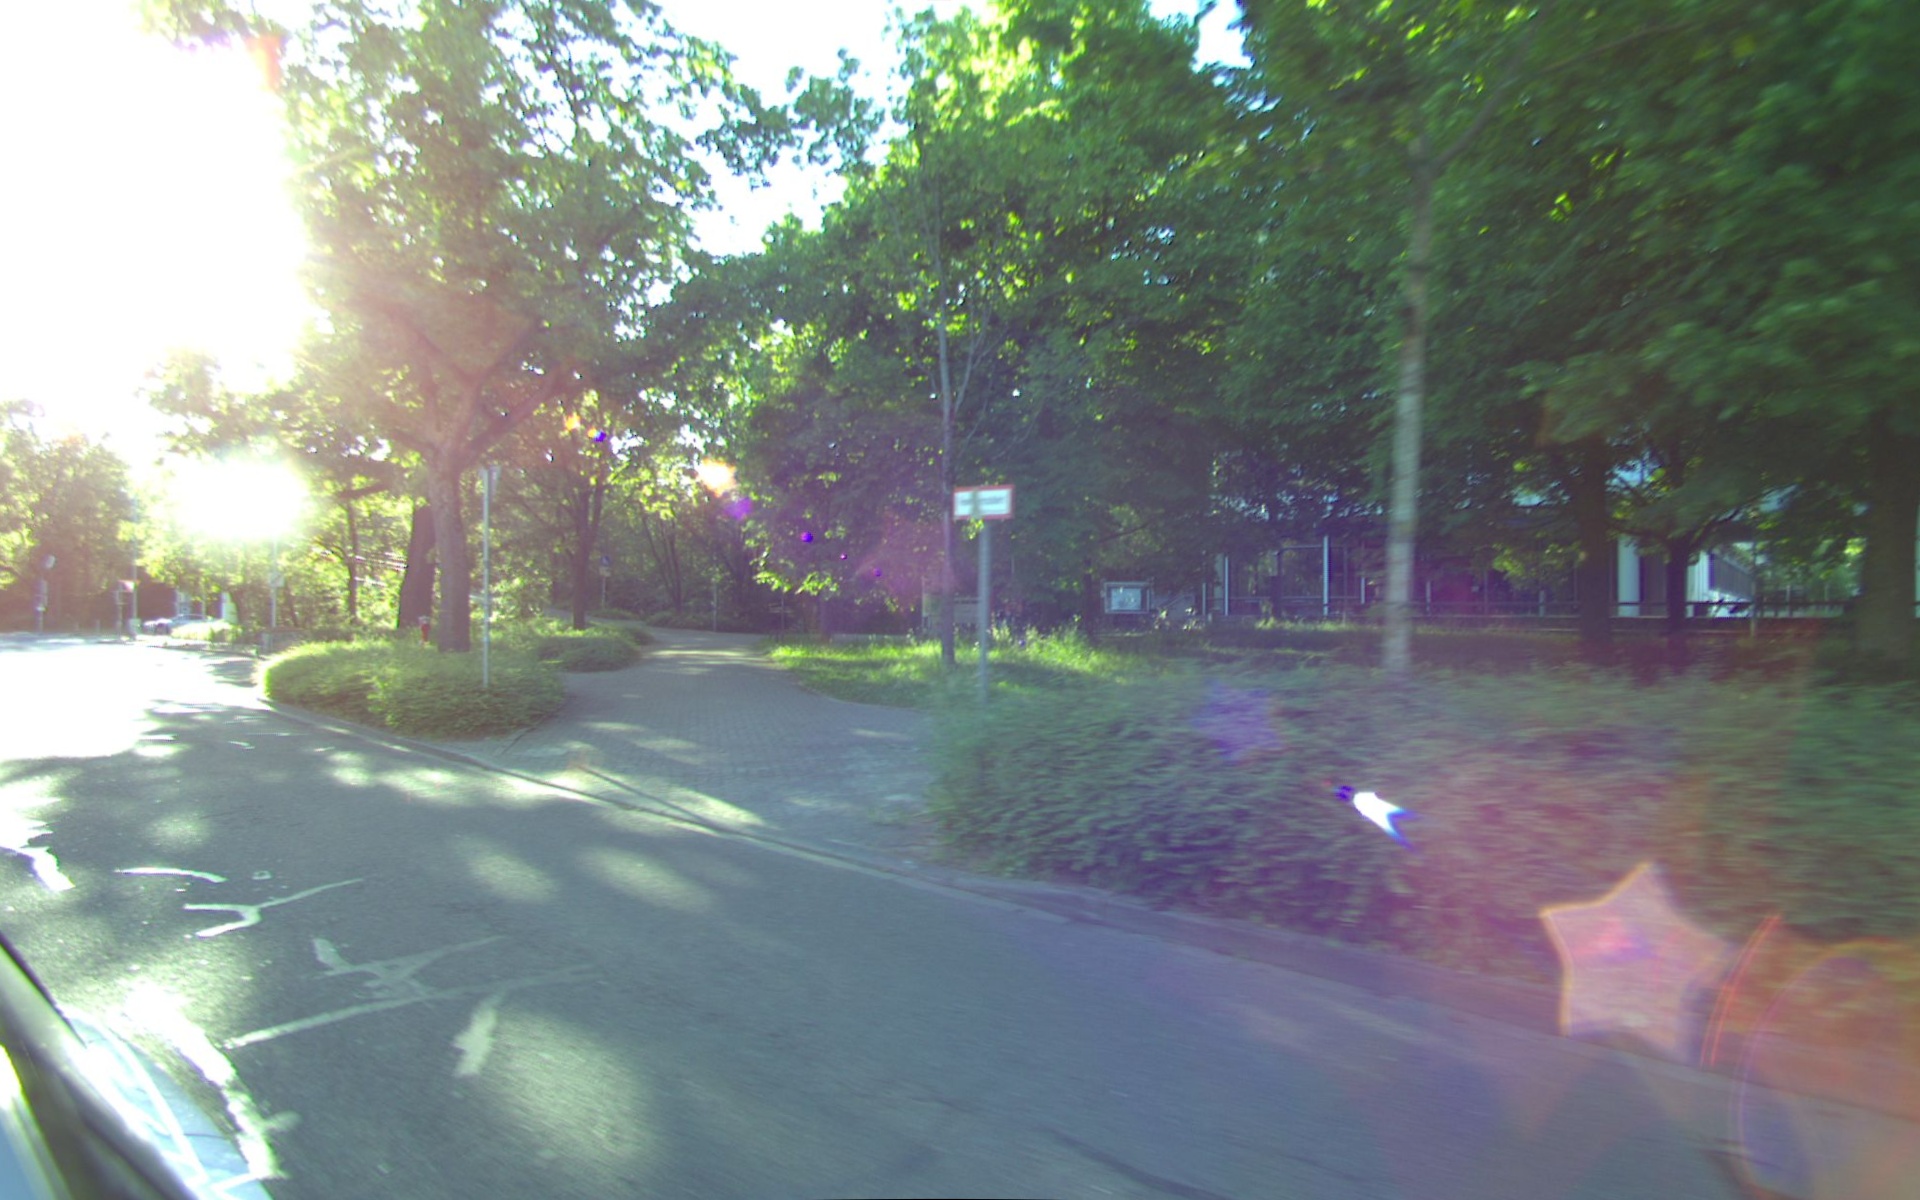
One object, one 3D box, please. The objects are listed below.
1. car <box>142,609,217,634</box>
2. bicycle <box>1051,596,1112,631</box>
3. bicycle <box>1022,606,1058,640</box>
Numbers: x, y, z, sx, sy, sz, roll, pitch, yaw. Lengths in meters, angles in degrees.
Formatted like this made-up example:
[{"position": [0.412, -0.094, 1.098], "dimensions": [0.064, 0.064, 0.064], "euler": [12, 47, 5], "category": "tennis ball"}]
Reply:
[{"position": [-59.637, 1.632, 77.349], "dimensions": [1.571, 1.774, 4.311], "euler": [-1, 0, 40], "category": "car"}, {"position": [4.142, 0.440, 34.768], "dimensions": [0.528, 1.079, 2.642], "euler": [-5, 4, -32], "category": "bicycle"}, {"position": [2.732, 0.775, 34.826], "dimensions": [0.528, 1.079, 2.435], "euler": [-3, 0, -10], "category": "bicycle"}]
